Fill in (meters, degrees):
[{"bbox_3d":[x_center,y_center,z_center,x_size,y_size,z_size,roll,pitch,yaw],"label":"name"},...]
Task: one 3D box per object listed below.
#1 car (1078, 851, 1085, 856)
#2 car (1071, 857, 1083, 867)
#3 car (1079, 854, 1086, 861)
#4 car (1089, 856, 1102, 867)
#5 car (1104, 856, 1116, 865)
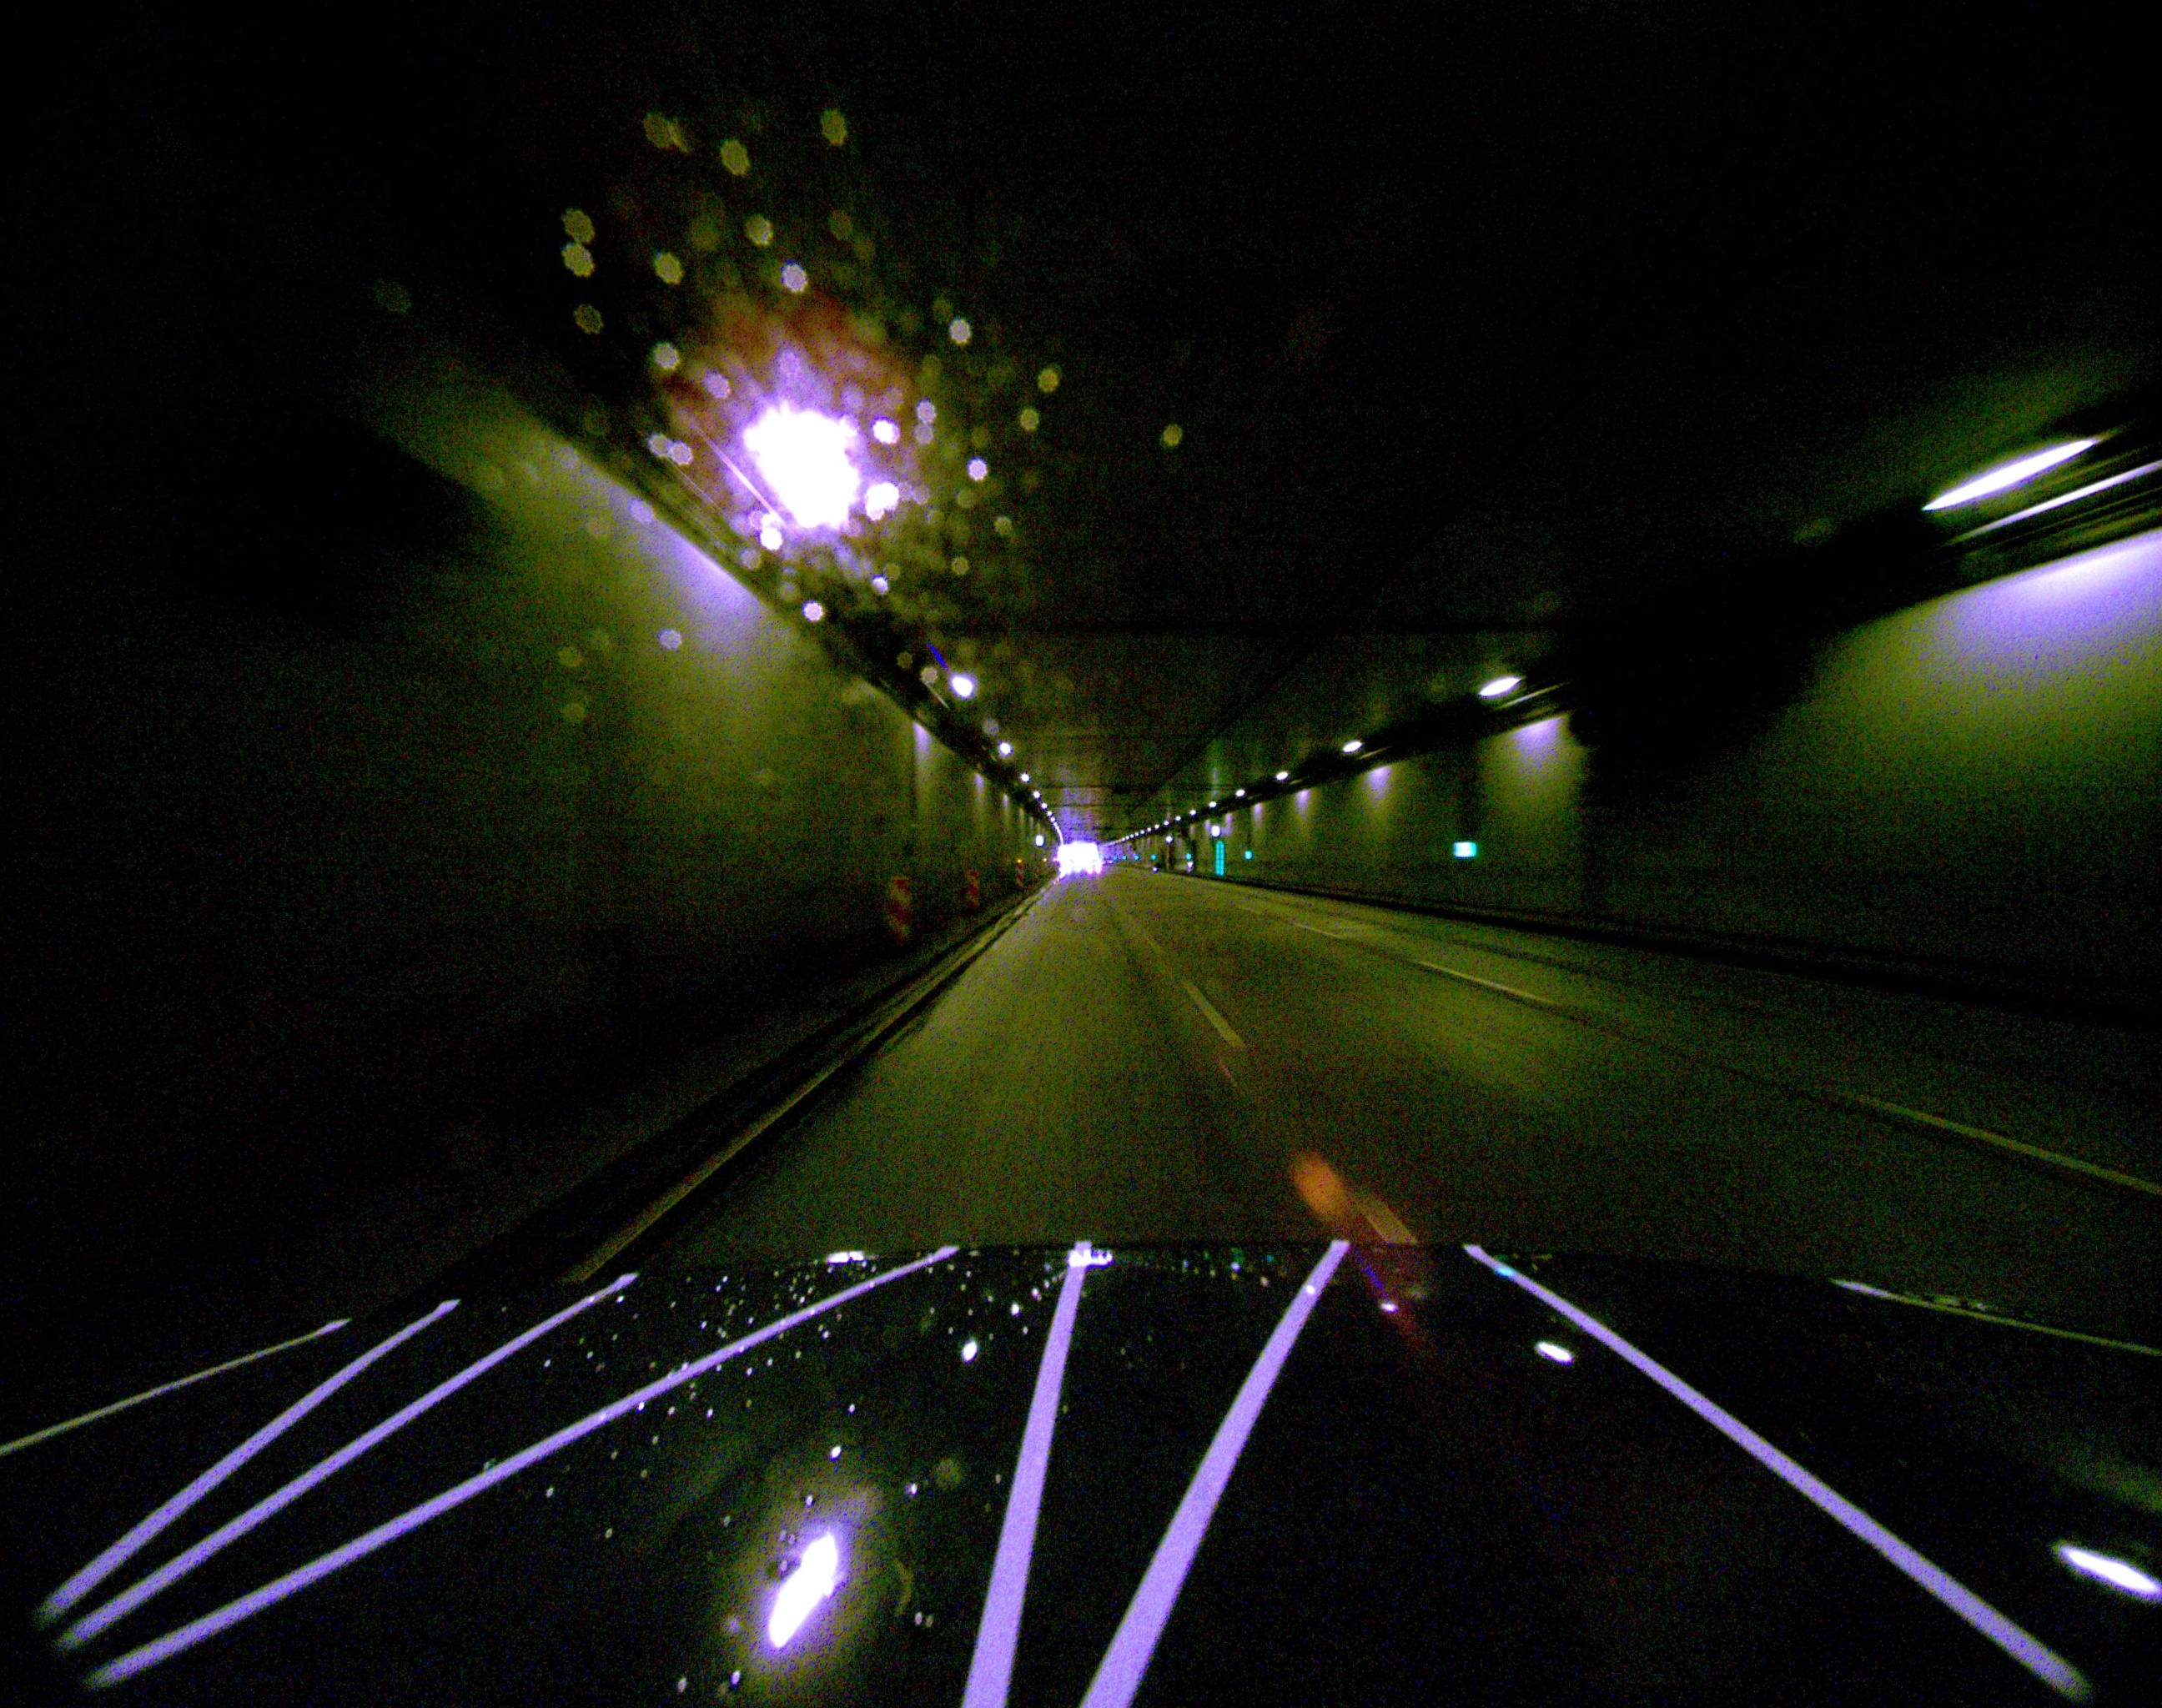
[{"bbox_3d":[0.160,-0.218,253.538,1.998,1.756,4.000,-1,0,1],"label":"car"},{"bbox_3d":[-0.713,1.326,133.107,1.998,1.685,4.000,-1,0,1],"label":"car"},{"bbox_3d":[0.466,0.898,212.031,1.998,1.756,4.000,-1,0,1],"label":"car"},{"bbox_3d":[2.474,1.304,128.245,1.998,1.686,4.000,-2,0,2],"label":"car"},{"bbox_3d":[5.332,1.214,140.768,1.998,1.685,4.001,-1,-1,0],"label":"car"}]
